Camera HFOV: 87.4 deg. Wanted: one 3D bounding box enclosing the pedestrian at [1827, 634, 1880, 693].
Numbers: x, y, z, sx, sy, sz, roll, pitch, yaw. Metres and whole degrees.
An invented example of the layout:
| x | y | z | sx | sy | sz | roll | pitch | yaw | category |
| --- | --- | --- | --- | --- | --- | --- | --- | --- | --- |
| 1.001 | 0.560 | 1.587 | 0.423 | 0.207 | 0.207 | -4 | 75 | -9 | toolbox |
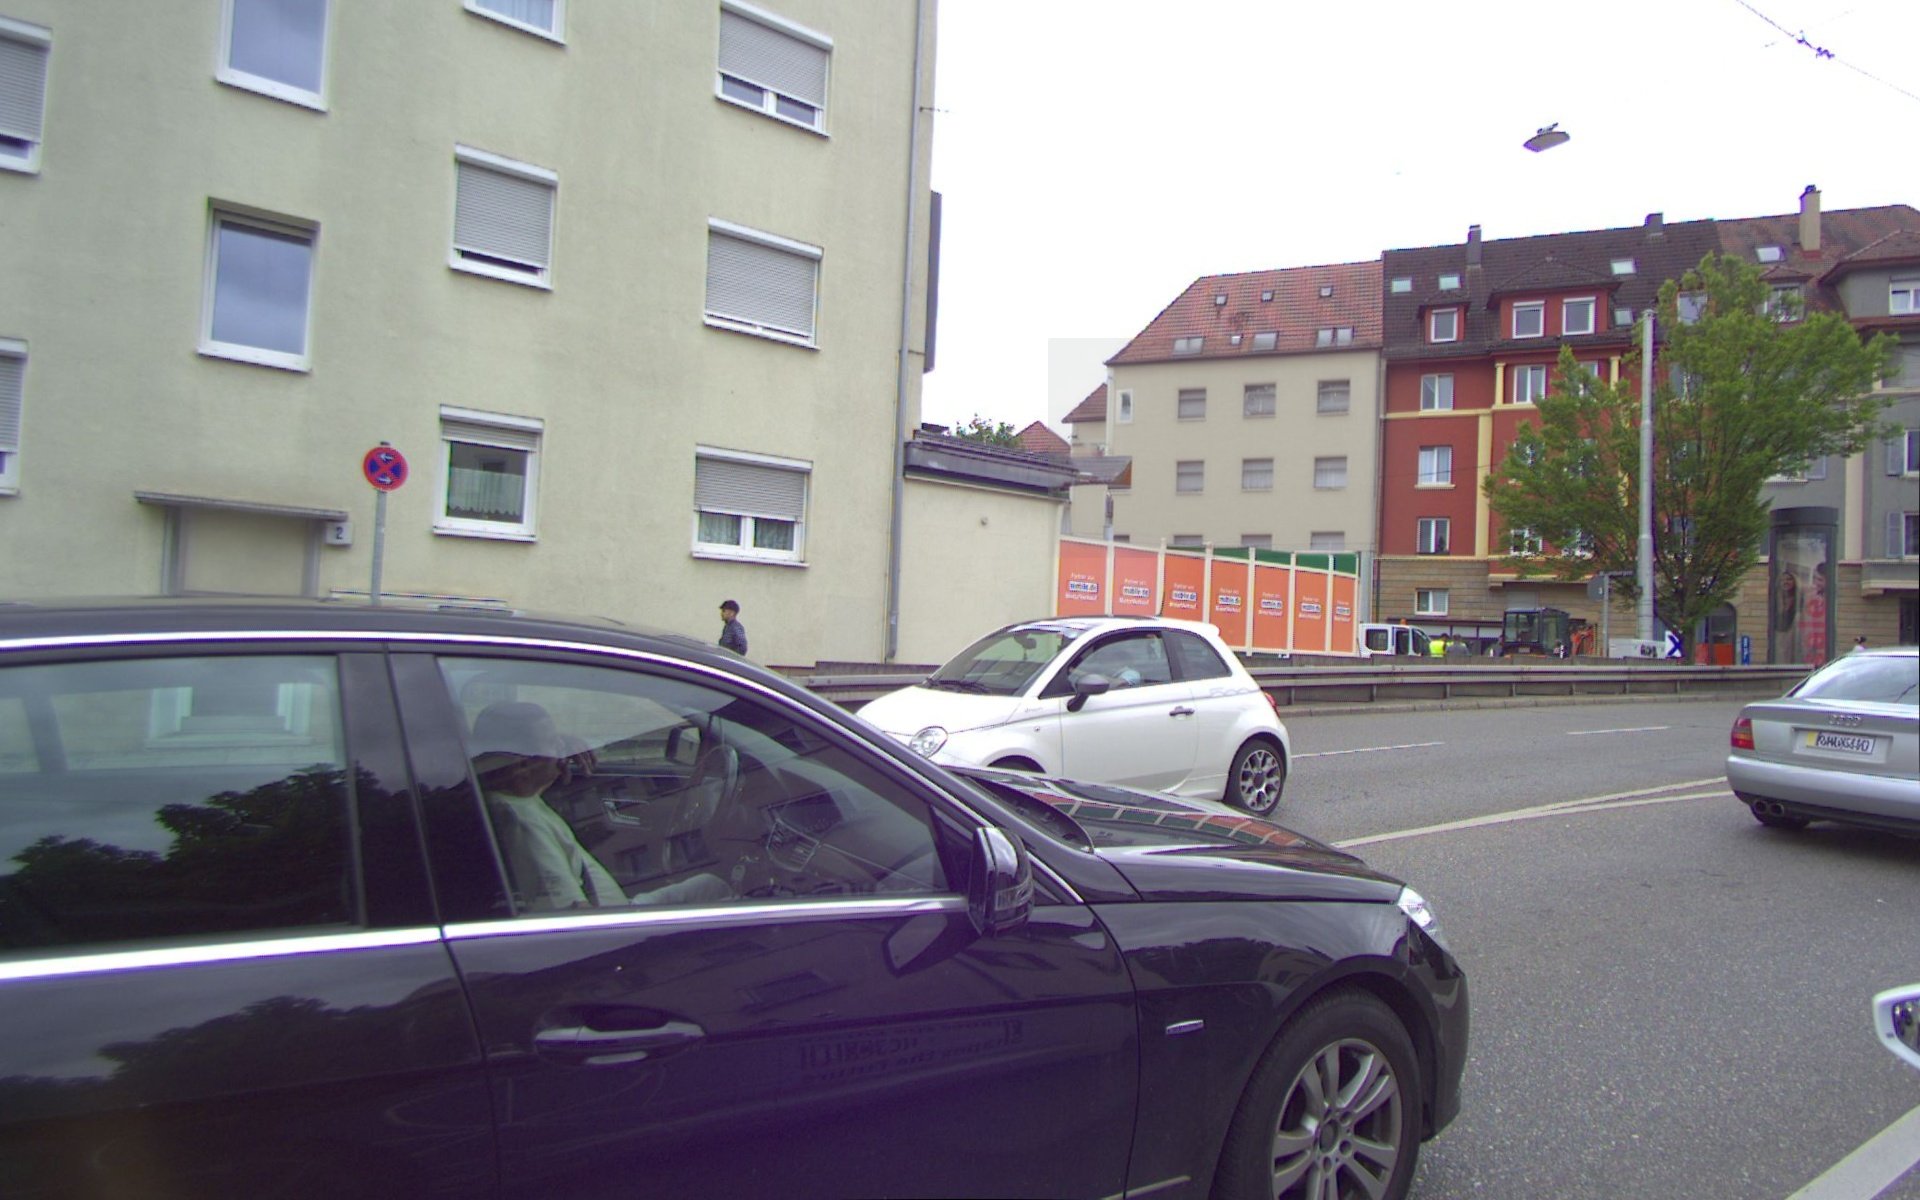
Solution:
| x | y | z | sx | sy | sz | roll | pitch | yaw | category |
| --- | --- | --- | --- | --- | --- | --- | --- | --- | --- |
| 24.345 | 1.726 | 27.375 | 0.724 | 1.567 | 0.795 | 1 | 0 | -3 | pedestrian |

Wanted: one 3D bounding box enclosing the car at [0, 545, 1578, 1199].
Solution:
| x | y | z | sx | sy | sz | roll | pitch | yaw | category |
| --- | --- | --- | --- | --- | --- | --- | --- | --- | --- |
| -1.024 | 0.683 | 2.104 | 4.786 | 1.448 | 1.983 | 2 | -1 | -31 | car |

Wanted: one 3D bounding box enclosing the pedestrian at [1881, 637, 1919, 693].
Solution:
| x | y | z | sx | sy | sz | roll | pitch | yaw | category |
| --- | --- | --- | --- | --- | --- | --- | --- | --- | --- |
| 25.806 | 1.786 | 27.536 | 0.641 | 1.507 | 0.523 | 1 | -1 | -8 | pedestrian |

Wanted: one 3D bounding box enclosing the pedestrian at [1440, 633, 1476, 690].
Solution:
| x | y | z | sx | sy | sz | roll | pitch | yaw | category |
| --- | --- | --- | --- | --- | --- | --- | --- | --- | --- |
| 12.348 | 1.509 | 24.900 | 0.613 | 1.381 | 0.602 | 0 | -1 | 3 | pedestrian |

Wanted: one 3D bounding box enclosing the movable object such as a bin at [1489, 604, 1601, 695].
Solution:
| x | y | z | sx | sy | sz | roll | pitch | yaw | category |
| --- | --- | --- | --- | --- | --- | --- | --- | --- | --- |
| 14.154 | 1.172 | 24.227 | 3.511 | 2.040 | 1.362 | 2 | -2 | -43 | movable object such as a bin |

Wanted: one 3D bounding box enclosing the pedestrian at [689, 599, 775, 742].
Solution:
| x | y | z | sx | sy | sz | roll | pitch | yaw | category |
| --- | --- | --- | --- | --- | --- | --- | --- | --- | --- |
| -2.769 | 0.833 | 12.213 | 0.773 | 1.658 | 0.682 | 2 | -1 | -41 | pedestrian |

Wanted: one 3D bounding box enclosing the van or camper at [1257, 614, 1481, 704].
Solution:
| x | y | z | sx | sy | sz | roll | pitch | yaw | category |
| --- | --- | --- | --- | --- | --- | --- | --- | --- | --- |
| 12.077 | 1.655 | 29.840 | 5.893 | 2.369 | 2.686 | 0 | -1 | 26 | van or camper |

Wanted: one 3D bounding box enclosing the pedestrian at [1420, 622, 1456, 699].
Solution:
| x | y | z | sx | sy | sz | roll | pitch | yaw | category |
| --- | --- | --- | --- | --- | --- | --- | --- | --- | --- |
| 12.973 | 1.638 | 27.281 | 0.810 | 2.040 | 0.680 | 1 | -1 | 21 | pedestrian |

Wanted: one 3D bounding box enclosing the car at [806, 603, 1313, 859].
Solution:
| x | y | z | sx | sy | sz | roll | pitch | yaw | category |
| --- | --- | --- | --- | --- | --- | --- | --- | --- | --- |
| 0.804 | 0.820 | 7.402 | 3.492 | 1.466 | 1.589 | 2 | -2 | -33 | car |

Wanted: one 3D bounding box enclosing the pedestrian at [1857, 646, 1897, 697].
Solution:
| x | y | z | sx | sy | sz | roll | pitch | yaw | category |
| --- | --- | --- | --- | --- | --- | --- | --- | --- | --- |
| 25.096 | 1.944 | 27.493 | 0.573 | 1.356 | 0.575 | 1 | -1 | -8 | pedestrian |

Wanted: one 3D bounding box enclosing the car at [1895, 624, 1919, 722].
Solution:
| x | y | z | sx | sy | sz | roll | pitch | yaw | category |
| --- | --- | --- | --- | --- | --- | --- | --- | --- | --- |
| 19.538 | 1.364 | 18.360 | 4.653 | 1.737 | 1.899 | 2 | -1 | -24 | car |

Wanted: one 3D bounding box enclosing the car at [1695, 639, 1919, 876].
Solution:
| x | y | z | sx | sy | sz | roll | pitch | yaw | category |
| --- | --- | --- | --- | --- | --- | --- | --- | --- | --- |
| 7.359 | 0.993 | 7.195 | 4.072 | 1.383 | 1.624 | 1 | -2 | -25 | car |
